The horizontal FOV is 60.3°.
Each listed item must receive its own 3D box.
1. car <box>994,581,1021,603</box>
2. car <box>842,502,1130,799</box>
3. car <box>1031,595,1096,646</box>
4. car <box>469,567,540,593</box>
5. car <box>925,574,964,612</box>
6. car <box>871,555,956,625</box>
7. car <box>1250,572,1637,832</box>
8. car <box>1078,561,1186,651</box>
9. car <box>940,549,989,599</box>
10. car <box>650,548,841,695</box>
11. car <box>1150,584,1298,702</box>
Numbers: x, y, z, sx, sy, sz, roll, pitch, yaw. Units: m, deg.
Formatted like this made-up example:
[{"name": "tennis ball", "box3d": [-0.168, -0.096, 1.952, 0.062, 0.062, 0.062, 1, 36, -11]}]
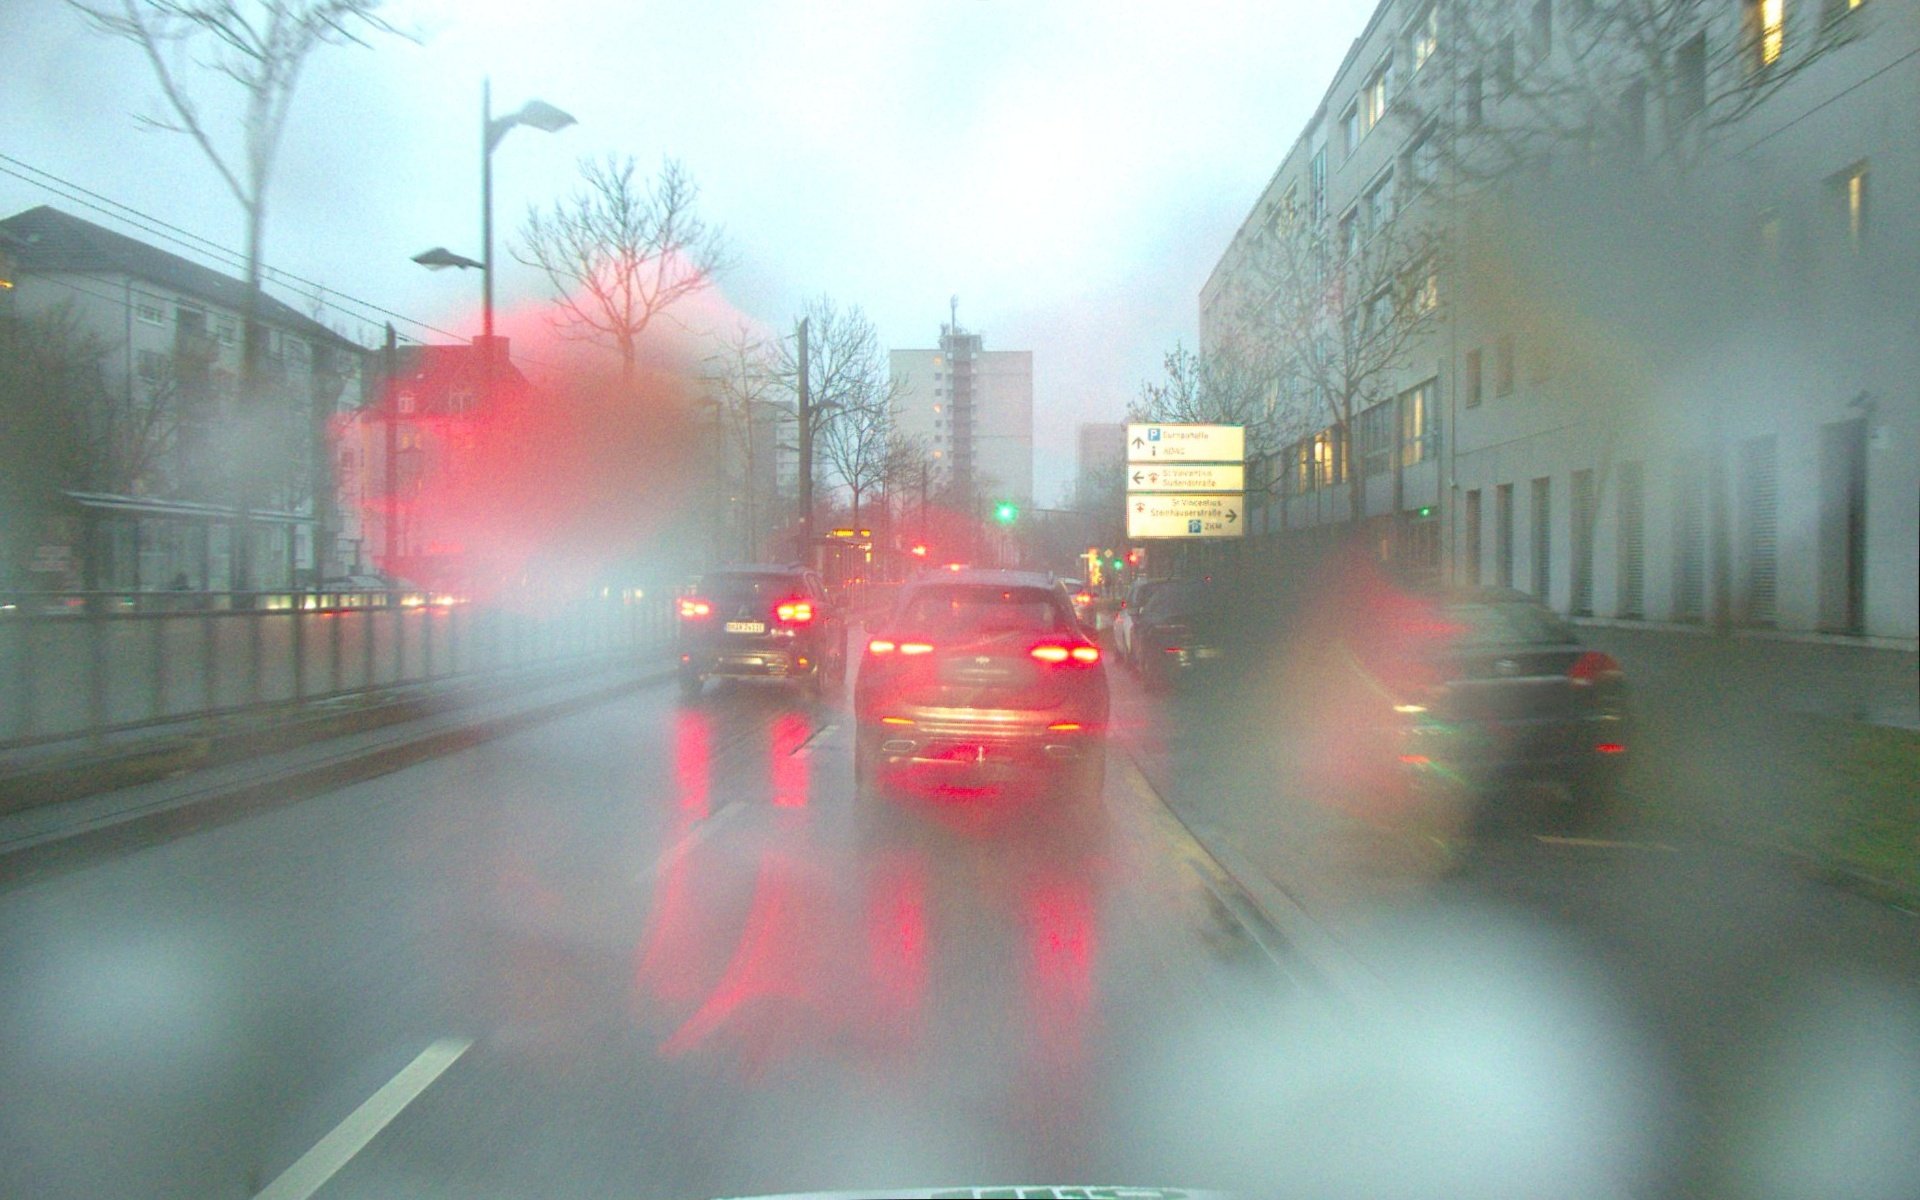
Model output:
[{"name": "car", "box3d": [3.490, -0.554, 121.092, 1.733, 1.528, 3.370, 1, 0, 4]}, {"name": "car", "box3d": [0.147, 0.355, 13.474, 1.953, 2.010, 4.067, 1, 0, -1]}, {"name": "car", "box3d": [3.130, 0.611, 50.815, 1.847, 1.377, 4.103, 1, 1, 2]}, {"name": "car", "box3d": [-26.882, -1.169, 97.679, 3.722, 1.390, 1.697, 1, 0, -3]}, {"name": "car", "box3d": [-0.853, -0.425, 92.966, 1.912, 2.069, 4.885, 1, 1, 2]}, {"name": "car", "box3d": [-1.158, -0.238, 42.913, 1.952, 1.671, 4.023, 1, 0, 1]}, {"name": "car", "box3d": [3.175, 0.595, 11.707, 1.563, 1.465, 4.229, 1, 0, 1]}, {"name": "car", "box3d": [2.927, 0.058, 28.763, 1.558, 1.418, 3.487, -2, 1, 1]}, {"name": "car", "box3d": [0.180, -0.964, 62.677, 1.757, 1.780, 3.625, 1, 0, 1]}, {"name": "car", "box3d": [-2.759, 0.267, 22.257, 1.953, 1.742, 4.324, 1, 0, 0]}, {"name": "car", "box3d": [3.647, 0.531, 23.453, 1.717, 1.427, 4.253, 1, 1, 4]}]
